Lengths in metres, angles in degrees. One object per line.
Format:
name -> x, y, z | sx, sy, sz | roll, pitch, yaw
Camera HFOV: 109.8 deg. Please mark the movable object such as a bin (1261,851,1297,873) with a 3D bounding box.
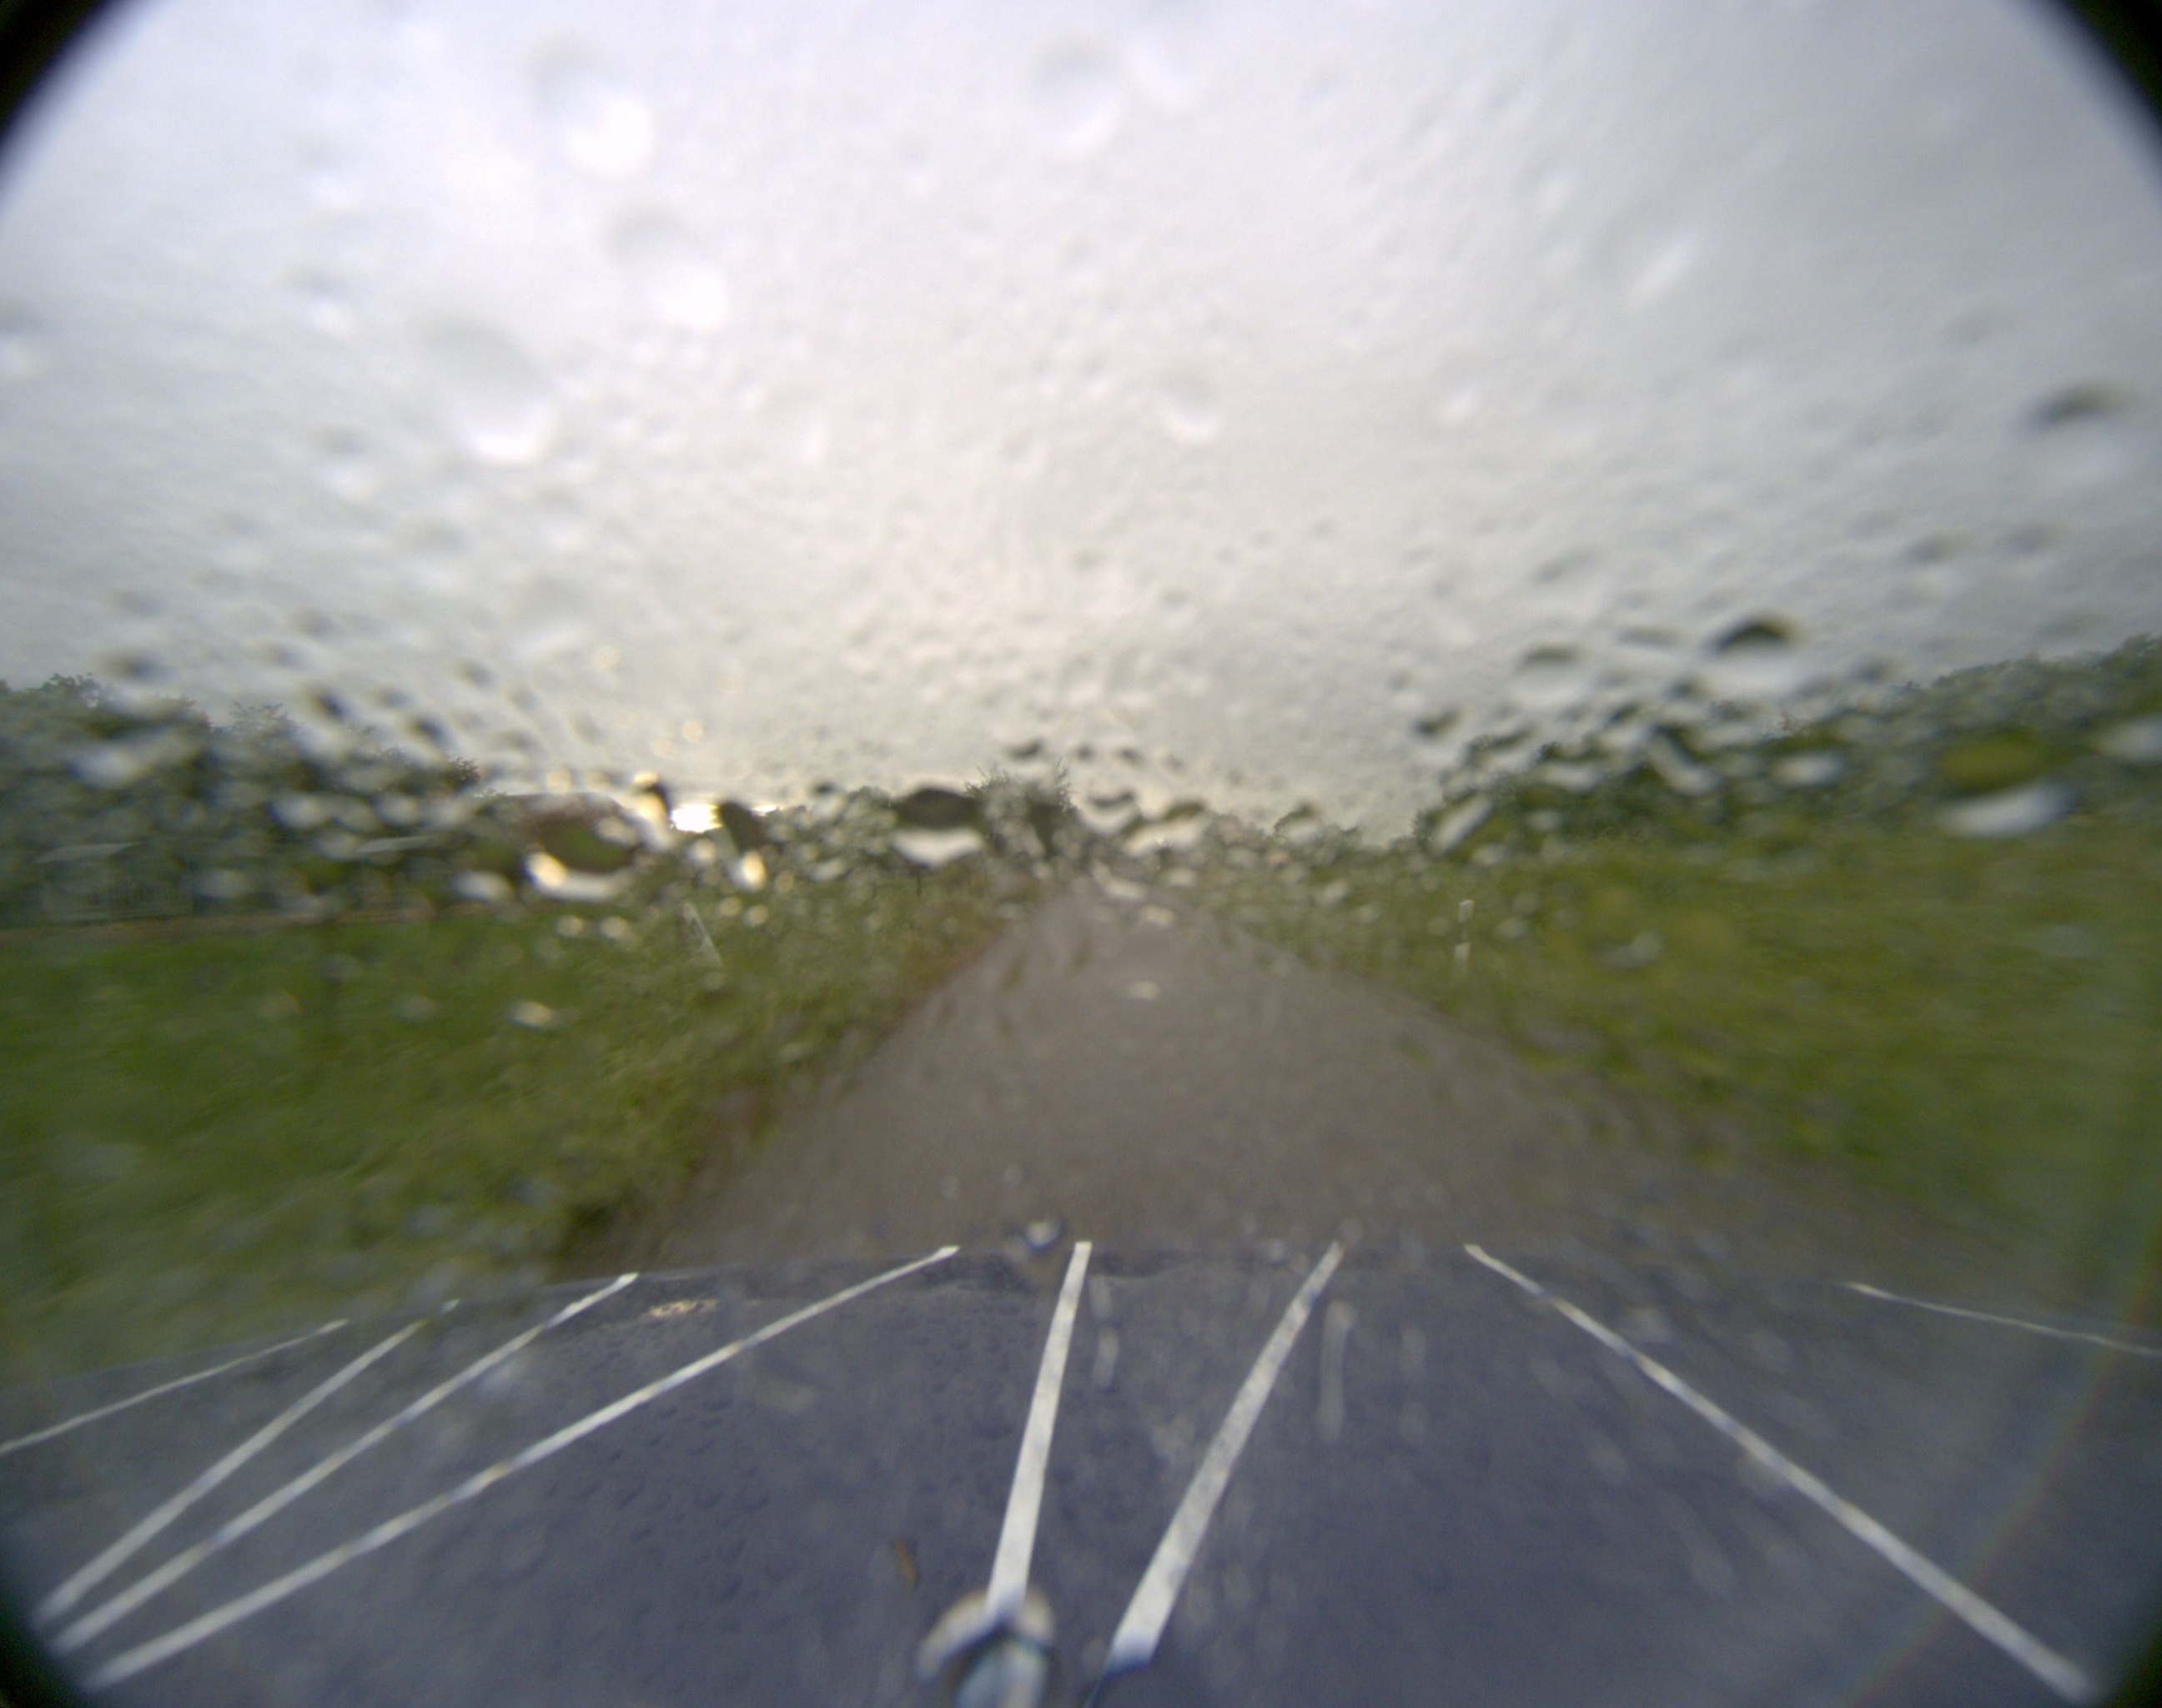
movable object such as a bin -> 14.534, 0.573, 56.020 | 1.683, 1.561, 3.538 | -2, 0, 0
